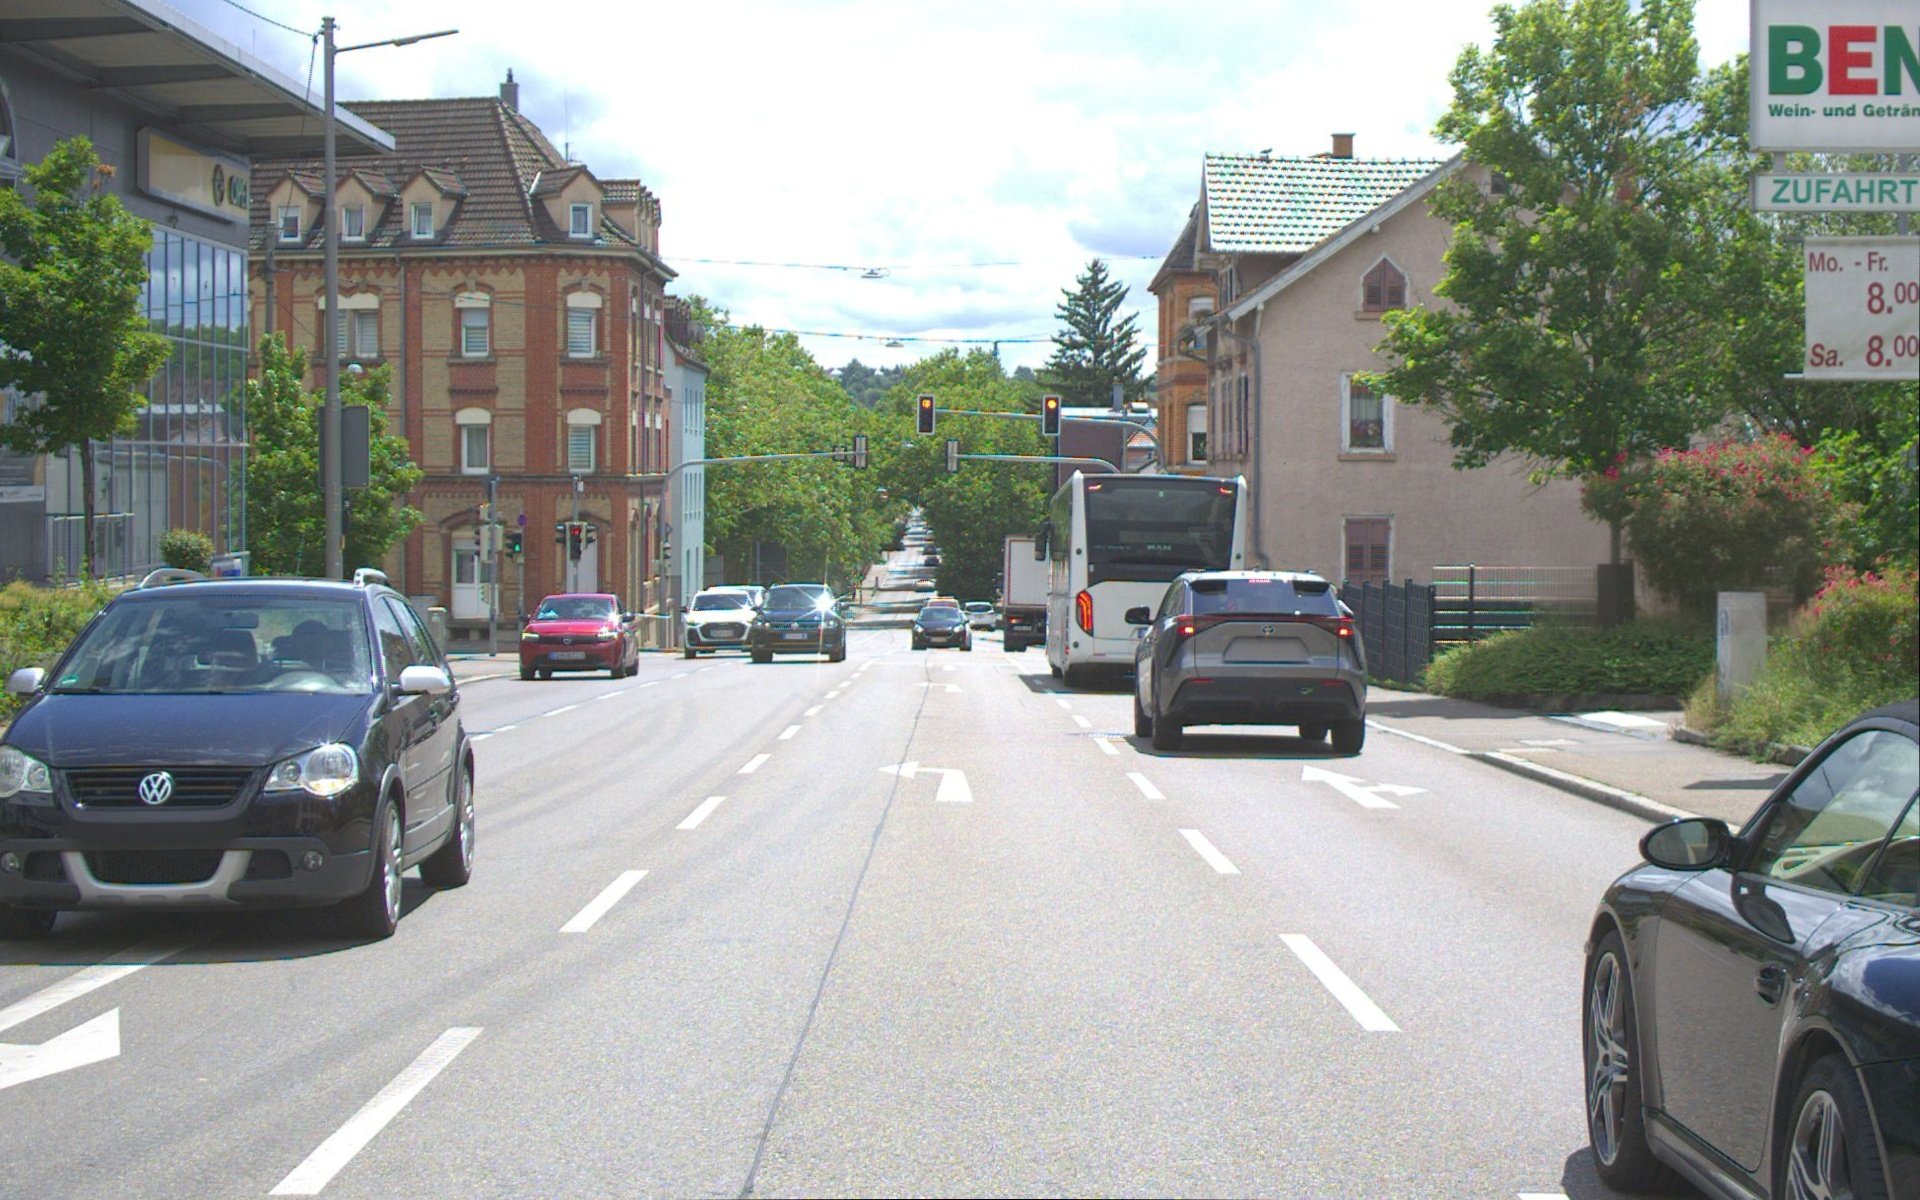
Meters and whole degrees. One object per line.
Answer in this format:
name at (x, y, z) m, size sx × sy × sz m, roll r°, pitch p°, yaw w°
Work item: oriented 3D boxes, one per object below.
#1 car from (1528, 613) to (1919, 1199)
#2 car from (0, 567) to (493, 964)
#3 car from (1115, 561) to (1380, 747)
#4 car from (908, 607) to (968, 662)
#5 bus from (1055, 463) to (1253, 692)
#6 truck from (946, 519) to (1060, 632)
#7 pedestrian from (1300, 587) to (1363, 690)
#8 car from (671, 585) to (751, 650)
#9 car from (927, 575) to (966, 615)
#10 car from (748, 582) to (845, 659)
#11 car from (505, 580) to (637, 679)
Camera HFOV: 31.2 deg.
car at (2.448, 0.823, 7.011) m, size 1.930 × 1.372 × 4.208 m, roll 0°, pitch 3°, yaw 1°
car at (-3.249, 0.619, 15.393) m, size 1.829 × 1.504 × 4.277 m, roll 0°, pitch 1°, yaw -1°
car at (2.551, 0.438, 31.441) m, size 1.930 × 1.577 × 4.208 m, roll 0°, pitch 1°, yaw -2°
car at (-0.714, 1.086, 109.618) m, size 1.864 × 1.660 × 4.259 m, roll 0°, pitch 0°, yaw -1°
bus at (2.962, -0.564, 55.285) m, size 2.802 × 3.186 × 12.196 m, roll 1°, pitch 3°, yaw 2°
truck at (1.178, -0.698, 99.316) m, size 2.666 × 3.097 × 9.036 m, roll -1°, pitch 0°, yaw -3°
pedestrian at (5.832, 0.596, 54.006) m, size 0.813 × 1.576 × 1.069 m, roll -2°, pitch 0°, yaw 0°
car at (-6.050, 0.407, 83.918) m, size 1.863 × 1.535 × 4.107 m, roll 0°, pitch 0°, yaw -3°
car at (-0.685, -0.243, 169.095) m, size 1.832 × 1.875 × 4.001 m, roll 0°, pitch 1°, yaw -1°
car at (-3.370, 0.394, 71.564) m, size 1.864 × 1.535 × 4.107 m, roll 0°, pitch 0°, yaw -1°
car at (-6.455, 0.468, 57.405) m, size 1.871 × 1.486 × 3.849 m, roll -3°, pitch 1°, yaw -2°
